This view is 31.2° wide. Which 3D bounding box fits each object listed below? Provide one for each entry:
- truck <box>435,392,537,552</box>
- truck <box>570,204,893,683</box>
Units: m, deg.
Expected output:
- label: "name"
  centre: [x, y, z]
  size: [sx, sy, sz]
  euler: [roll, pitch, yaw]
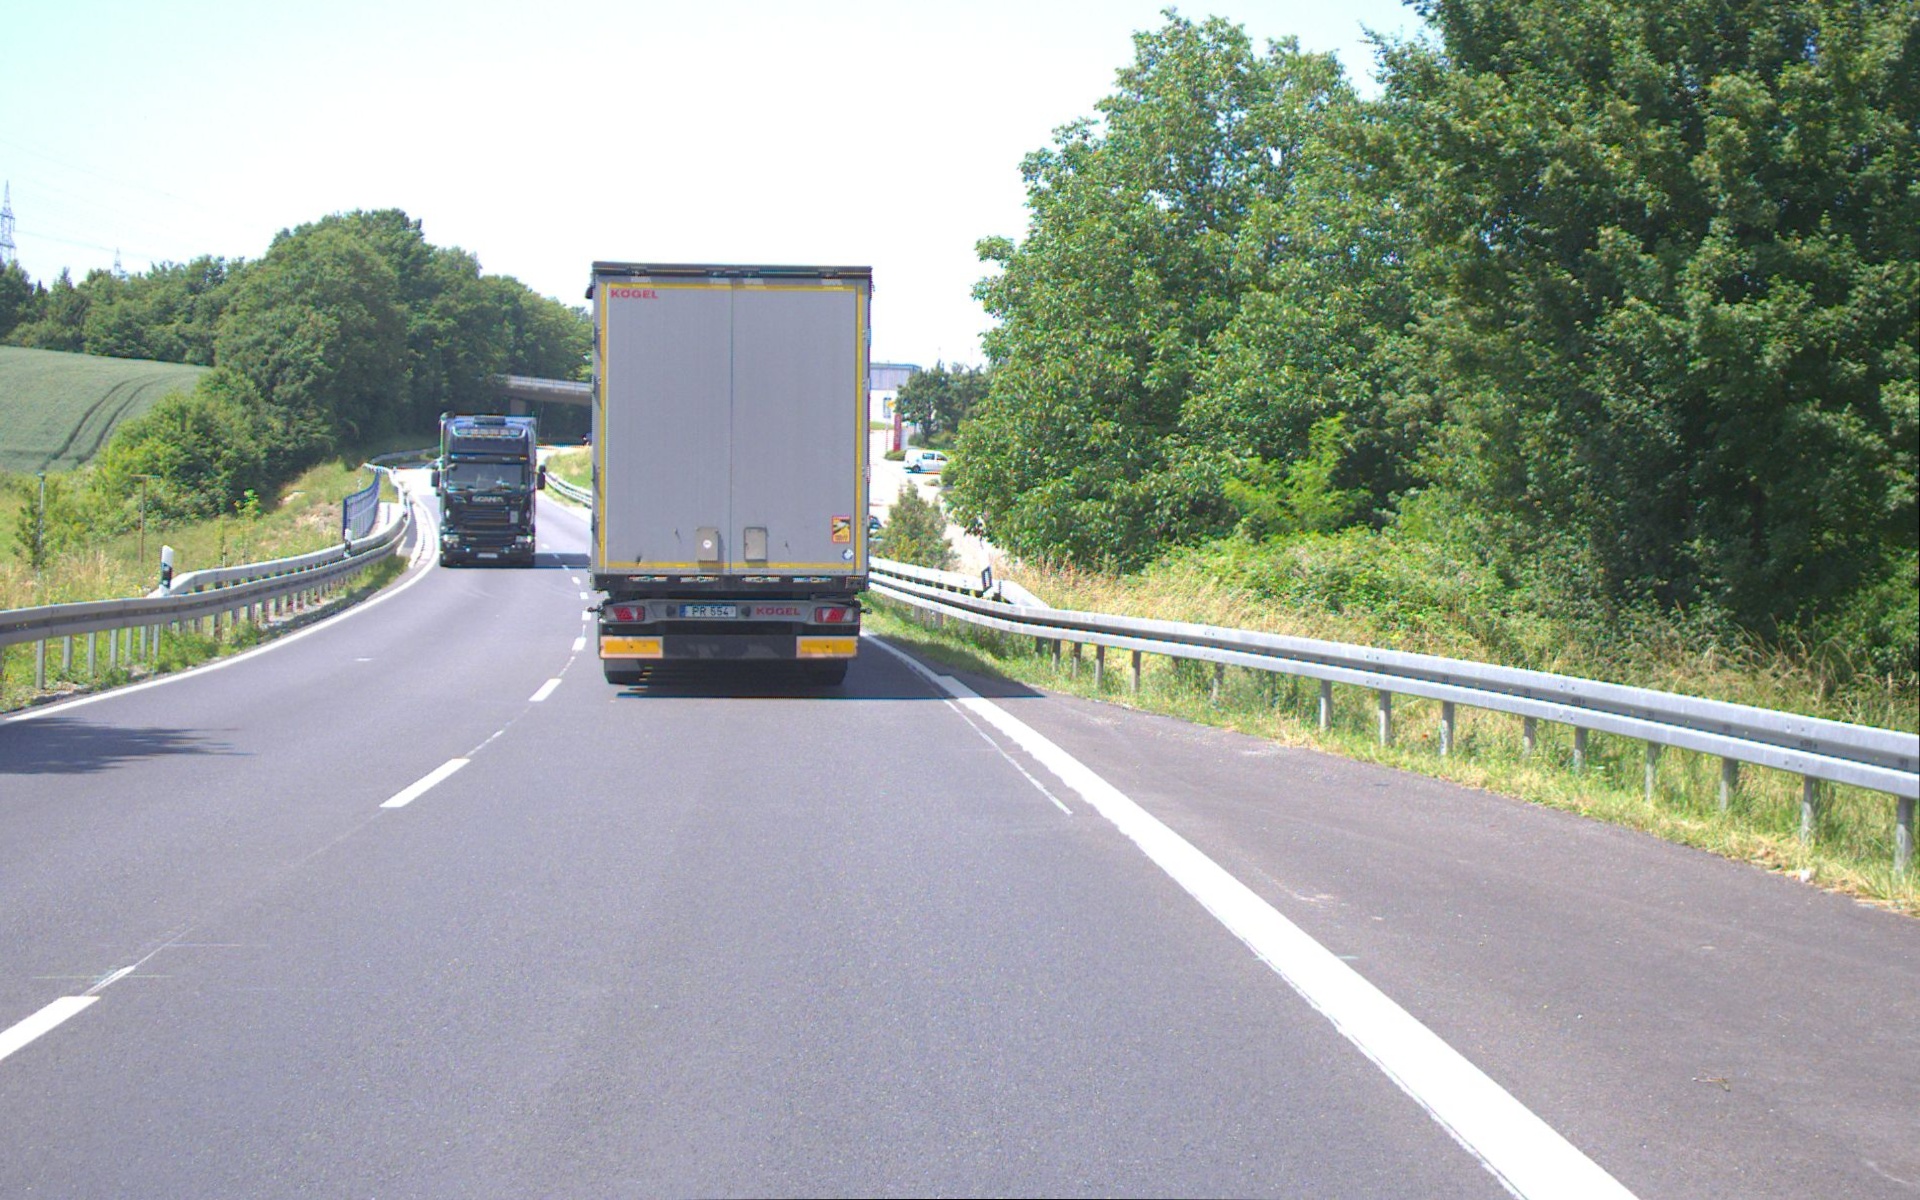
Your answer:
- label: "truck"
  centre: [-12.764, -3.429, 92.891]
  size: [2.445, 4.180, 5.650]
  euler: [0, 2, -5]
- label: "truck"
  centre: [-2.622, -1.543, 36.171]
  size: [2.865, 4.344, 9.791]
  euler: [0, 1, -7]
